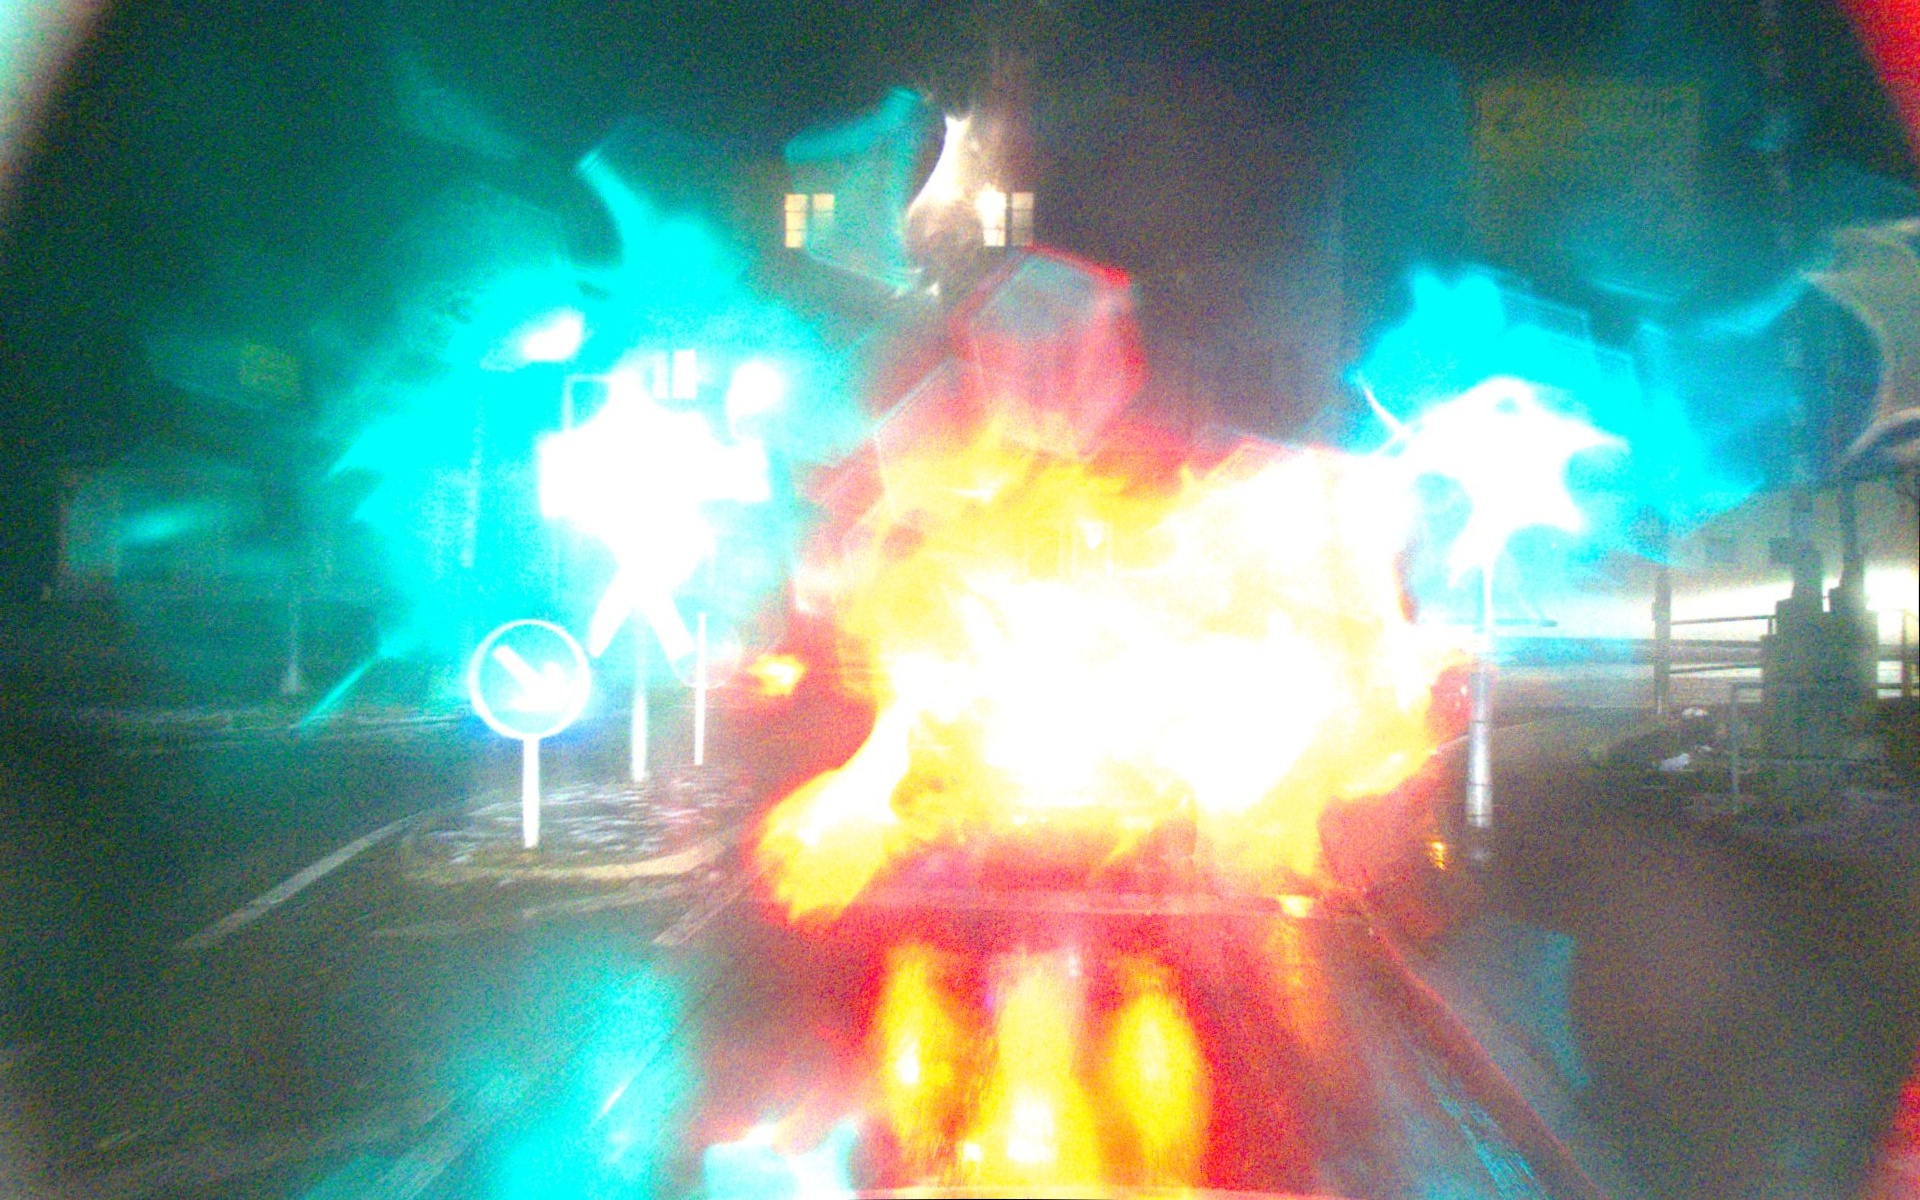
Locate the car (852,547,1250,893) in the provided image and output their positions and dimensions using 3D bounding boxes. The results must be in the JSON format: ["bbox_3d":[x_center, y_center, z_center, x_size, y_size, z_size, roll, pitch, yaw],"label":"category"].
[{"bbox_3d":[0.615,0.640,10.764,2.014,1.707,4.141,3,0,4],"label":"car"}]

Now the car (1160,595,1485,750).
[{"bbox_3d":[4.220,0.746,18.808,1.880,1.537,4.218,1,0,40],"label":"car"}]
